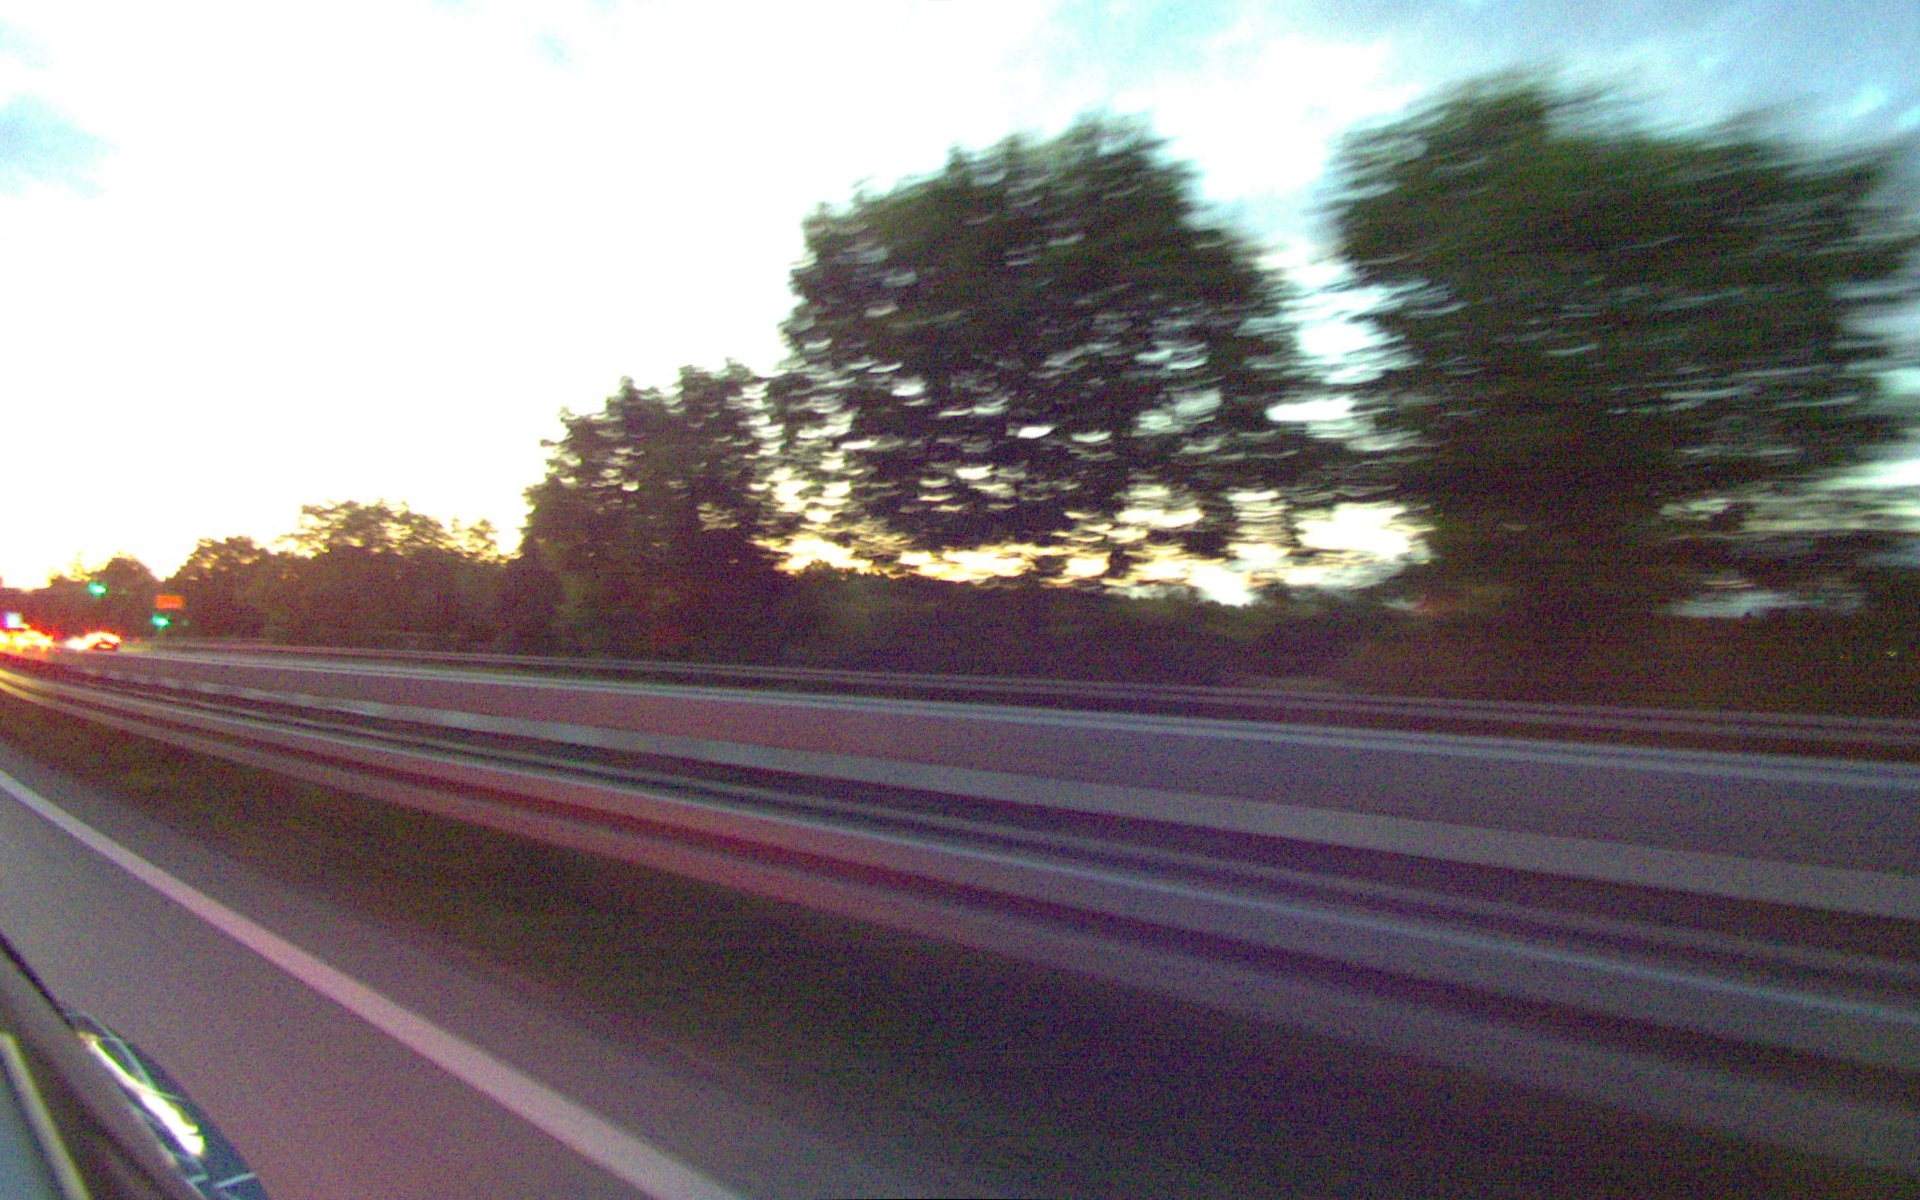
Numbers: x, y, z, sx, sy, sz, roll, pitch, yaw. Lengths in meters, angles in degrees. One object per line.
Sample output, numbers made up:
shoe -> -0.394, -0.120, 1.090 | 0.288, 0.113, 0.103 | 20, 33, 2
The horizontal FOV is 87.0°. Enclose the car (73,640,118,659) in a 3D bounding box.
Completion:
car -> -67.437, 3.839, 78.936 | 4.732, 1.464, 1.972 | -2, -3, 42

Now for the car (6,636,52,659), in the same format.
car -> -71.556, 3.639, 77.752 | 4.869, 1.695, 1.973 | -1, -3, 40

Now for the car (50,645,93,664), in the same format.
car -> -72.234, 4.408, 82.225 | 4.731, 1.464, 1.973 | -3, -4, 41
